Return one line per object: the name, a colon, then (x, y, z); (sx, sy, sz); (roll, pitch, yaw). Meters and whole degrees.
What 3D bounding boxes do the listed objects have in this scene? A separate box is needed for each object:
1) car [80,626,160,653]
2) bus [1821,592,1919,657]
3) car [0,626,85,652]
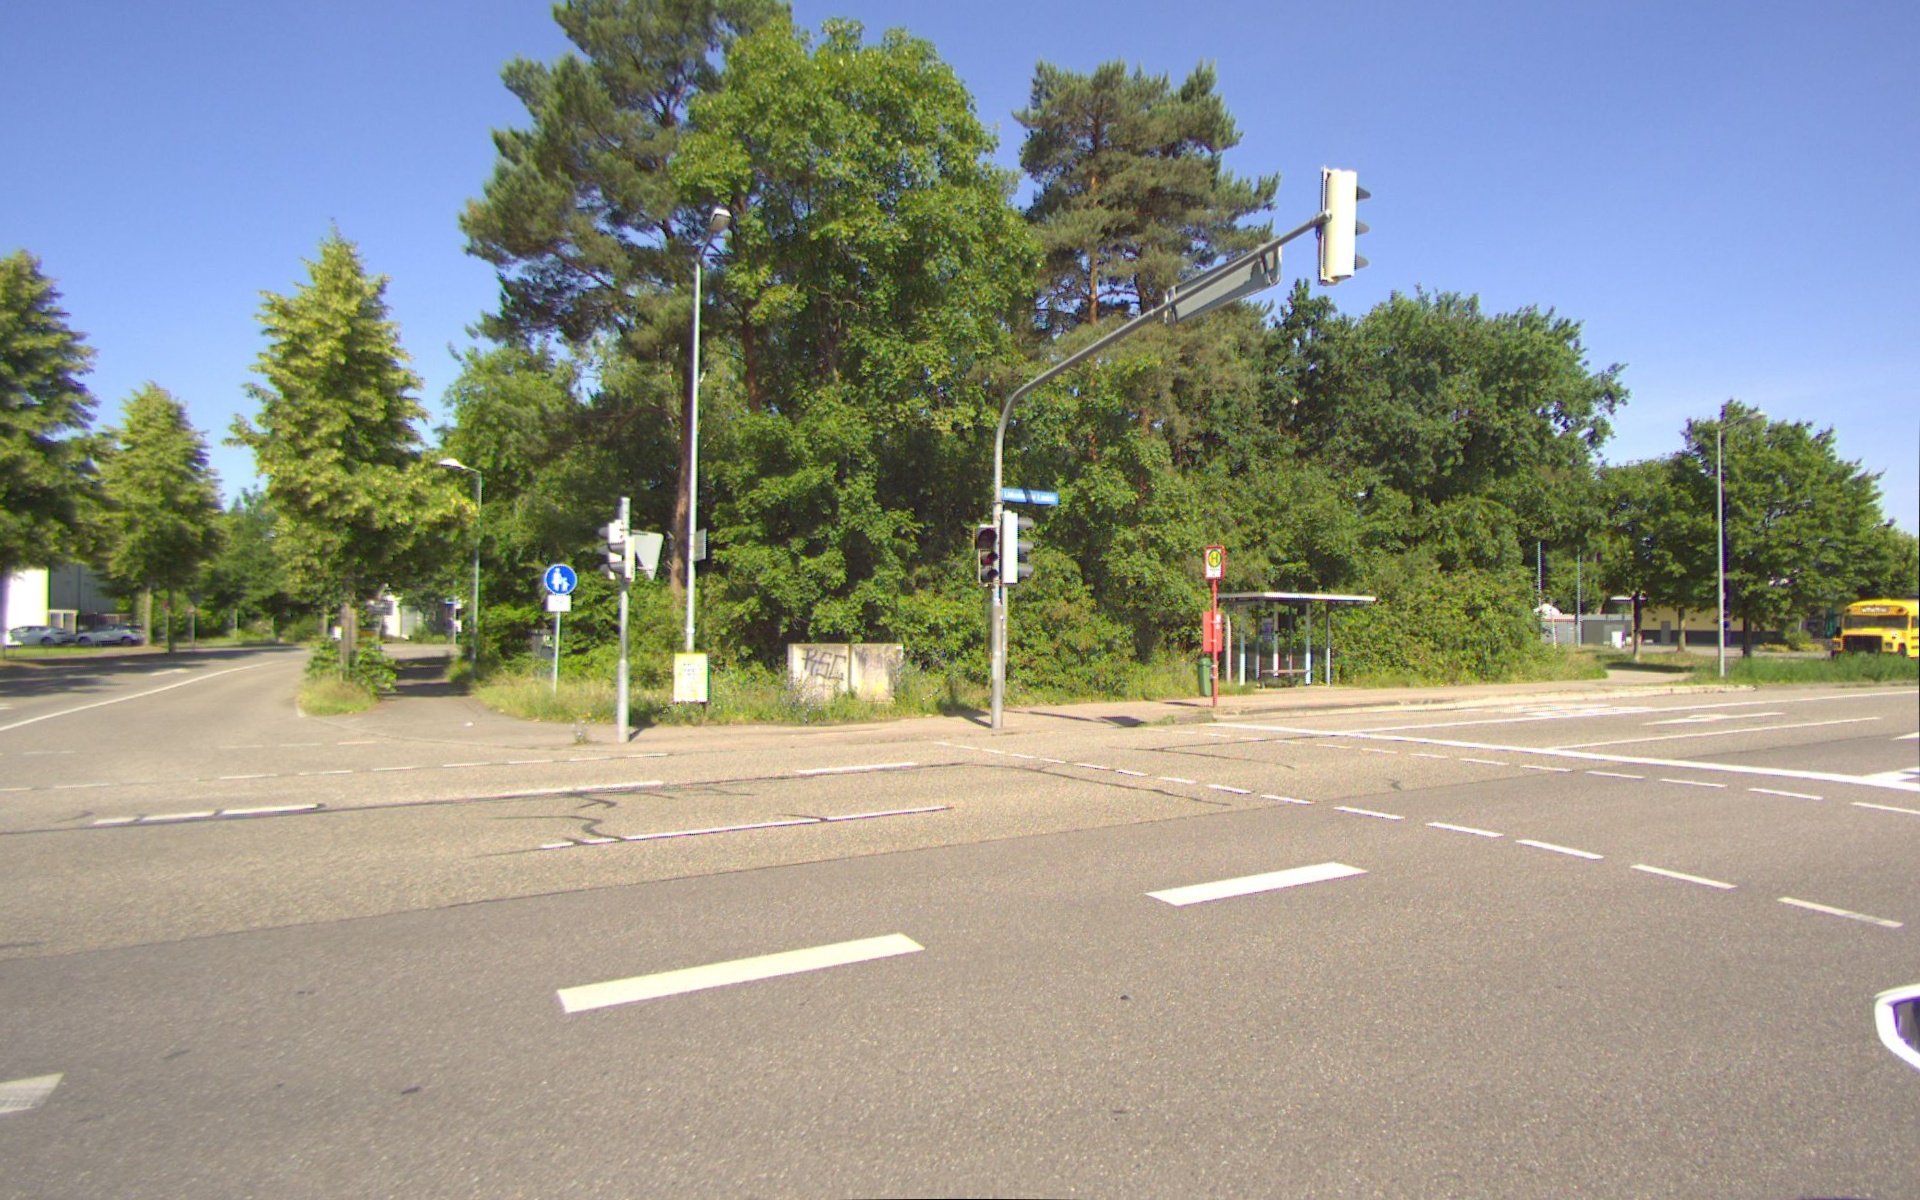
car: (-54.292, 2.542, 64.993); (3.638, 1.584, 1.598); (2, 0, -6)
bus: (42.620, 1.137, 45.739); (8.896, 2.715, 2.565); (2, 0, -32)
car: (-58.727, 2.469, 63.889); (4.210, 1.506, 1.768); (2, 0, -21)
